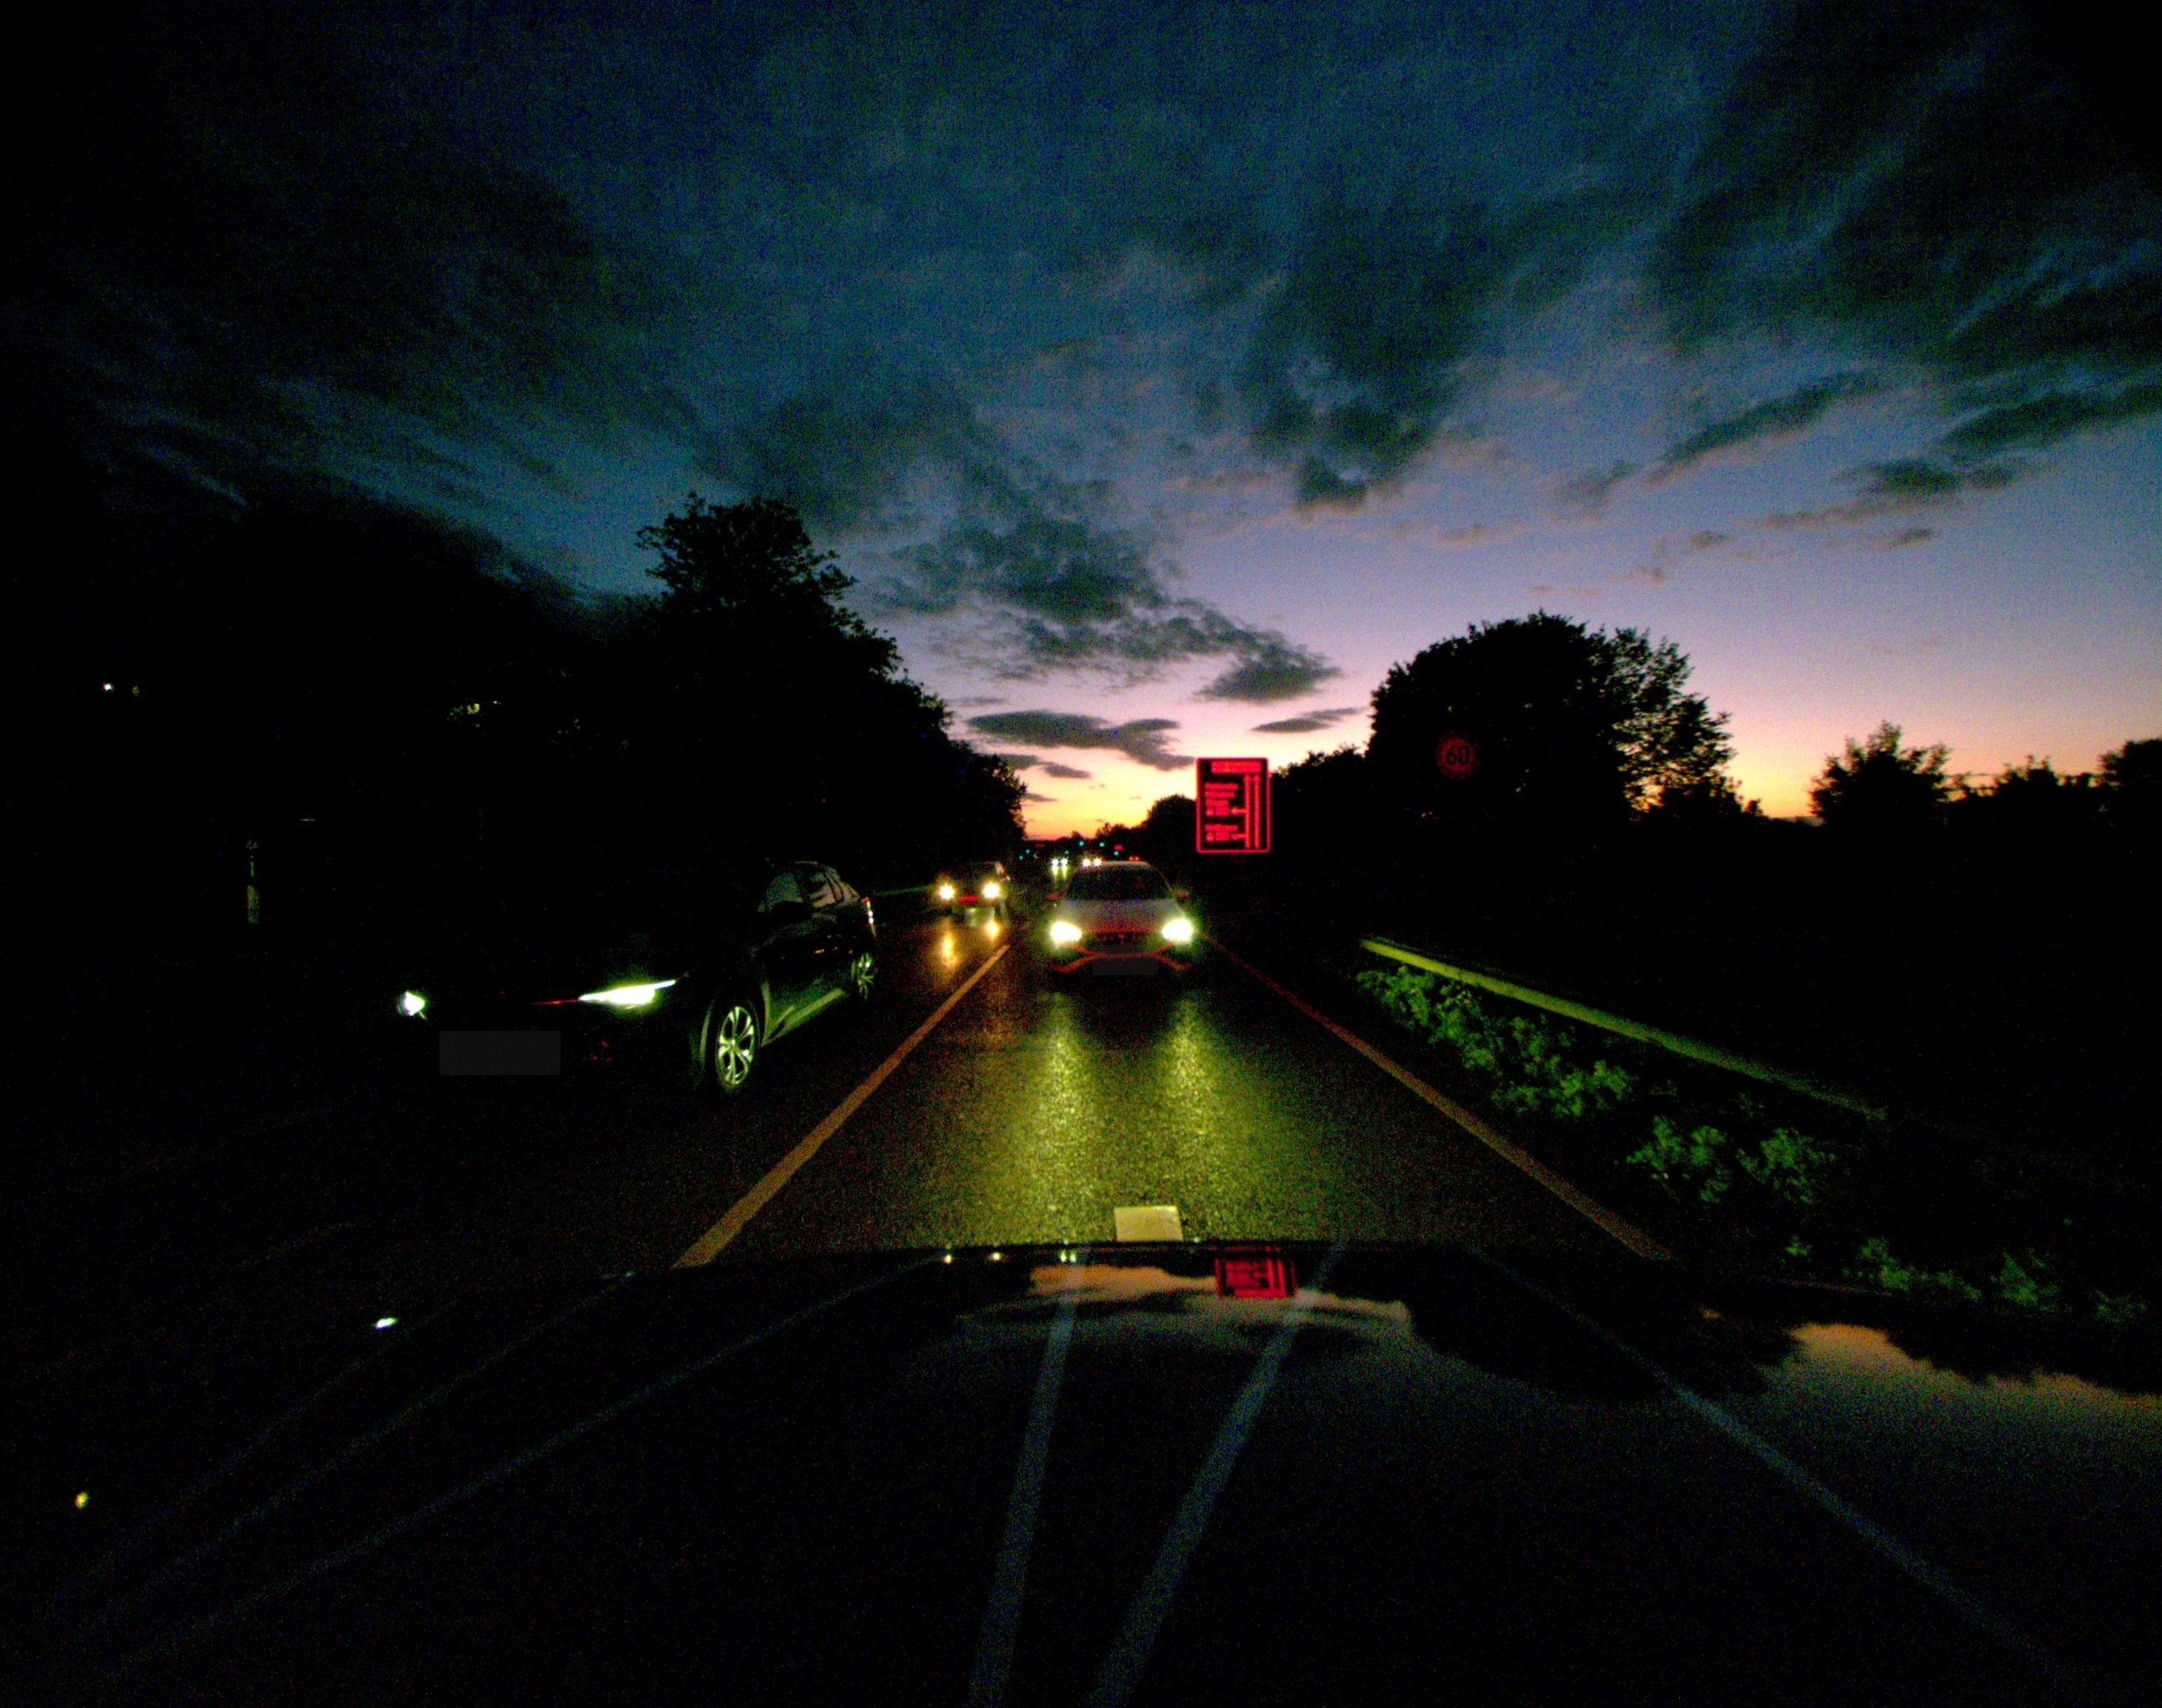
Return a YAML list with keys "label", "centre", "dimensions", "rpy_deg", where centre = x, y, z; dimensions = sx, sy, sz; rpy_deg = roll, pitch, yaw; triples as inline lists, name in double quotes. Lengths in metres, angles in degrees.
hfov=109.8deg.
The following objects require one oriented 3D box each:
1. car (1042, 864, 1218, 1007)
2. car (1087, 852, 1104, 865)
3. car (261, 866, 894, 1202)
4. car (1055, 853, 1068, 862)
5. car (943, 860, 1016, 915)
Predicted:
- label: "car"
  centre: [0.539, 0.930, 10.658]
  dimensions: [1.901, 1.472, 4.514]
  rpy_deg: [-2, 0, 0]
- label: "car"
  centre: [1.825, 0.604, 99.350]
  dimensions: [1.999, 1.602, 4.501]
  rpy_deg: [-1, 0, -1]
- label: "car"
  centre: [-3.182, 0.971, 6.282]
  dimensions: [1.998, 1.600, 4.711]
  rpy_deg: [-2, 0, 1]
- label: "car"
  centre: [-3.210, 0.550, 126.326]
  dimensions: [1.999, 1.423, 4.501]
  rpy_deg: [0, 0, -1]
- label: "car"
  centre: [-3.034, 0.966, 23.429]
  dimensions: [1.624, 1.460, 3.871]
  rpy_deg: [-2, 0, 1]
